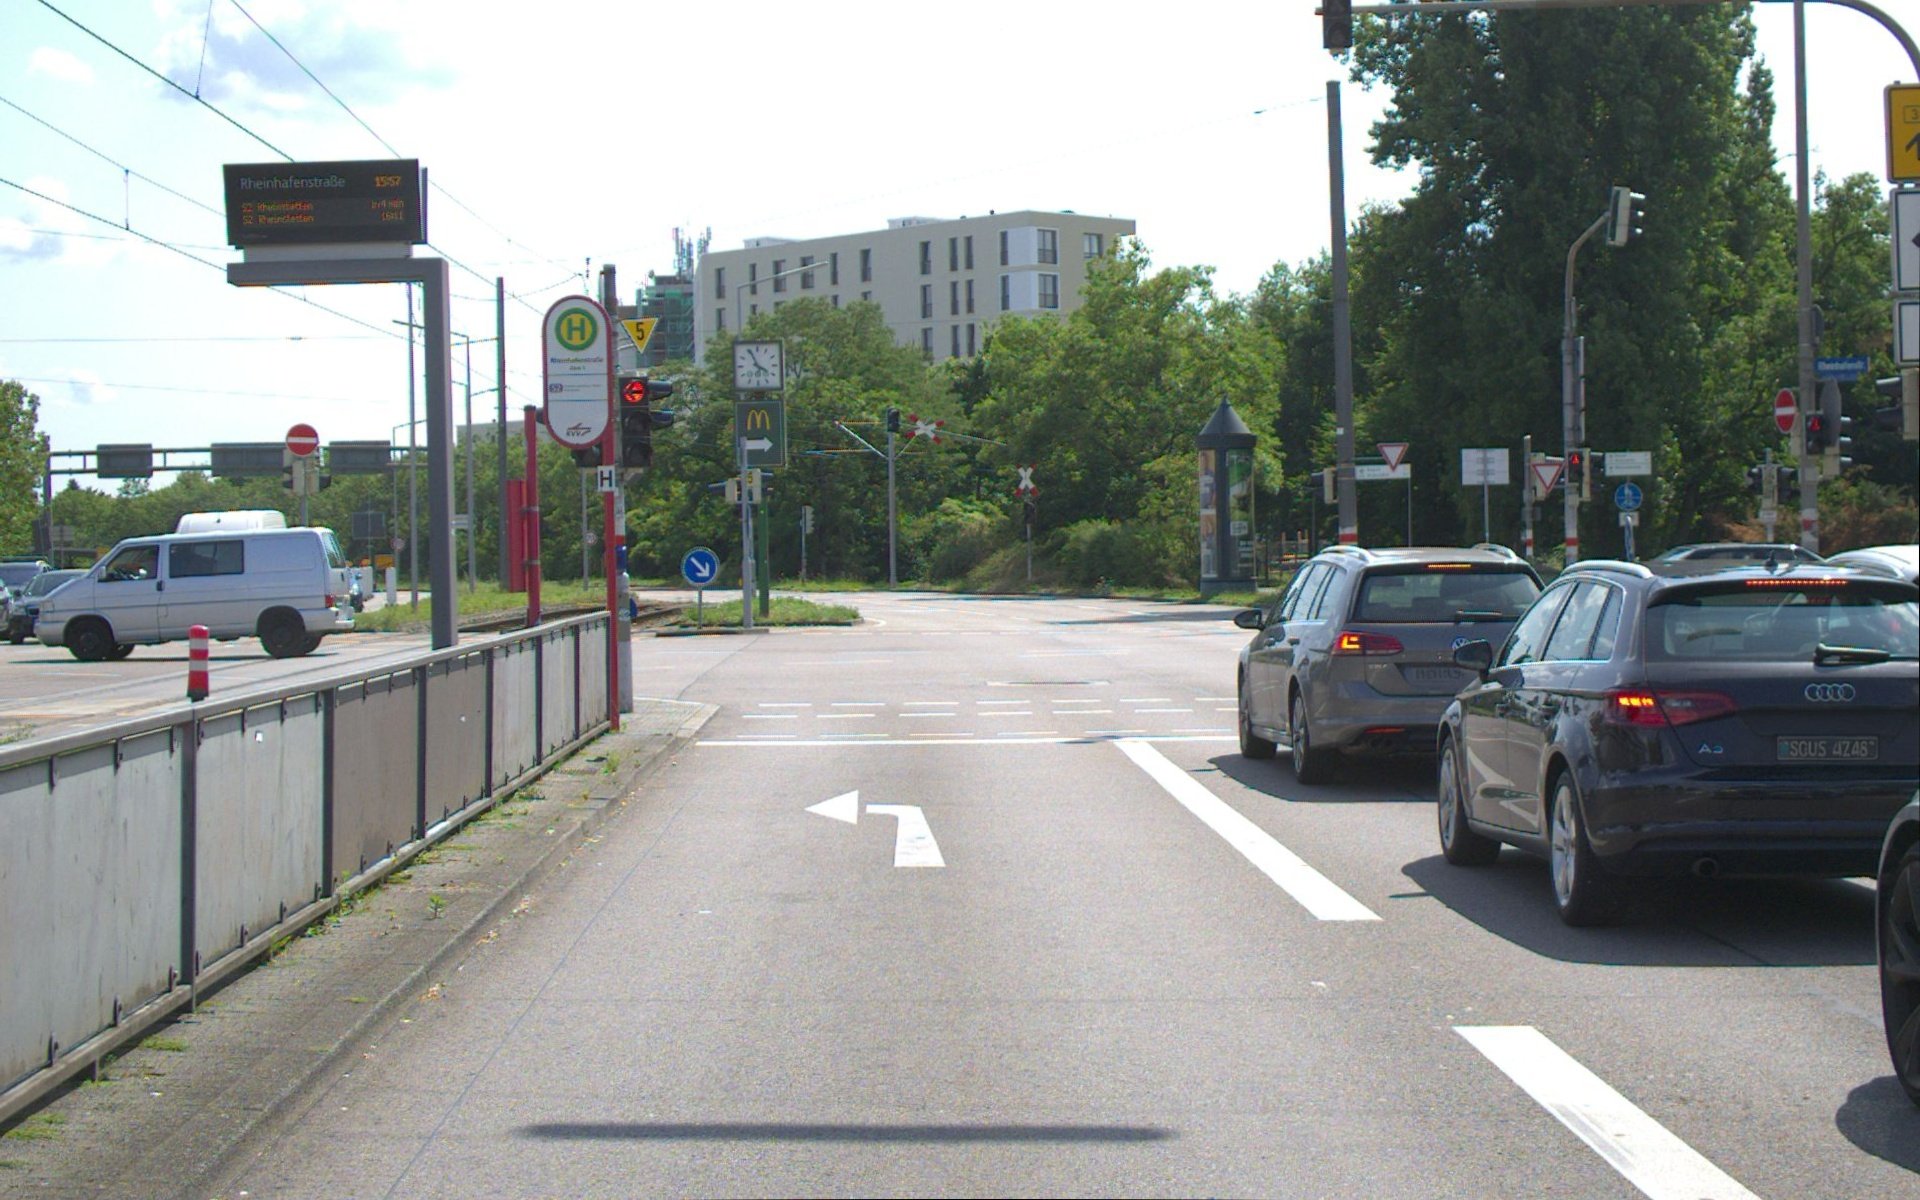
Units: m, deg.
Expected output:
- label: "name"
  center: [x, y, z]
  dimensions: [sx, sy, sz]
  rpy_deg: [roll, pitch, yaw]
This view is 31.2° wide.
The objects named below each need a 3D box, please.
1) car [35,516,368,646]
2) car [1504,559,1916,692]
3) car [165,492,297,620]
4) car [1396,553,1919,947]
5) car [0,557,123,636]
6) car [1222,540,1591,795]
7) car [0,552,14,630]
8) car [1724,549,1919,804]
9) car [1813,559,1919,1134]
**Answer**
- label: "car"
  center: [-11.614, -0.308, 52.896]
  dimensions: [4.676, 1.929, 2.000]
  rpy_deg: [0, 1, -1]
- label: "car"
  center: [8.844, 0.284, 40.841]
  dimensions: [4.460, 1.509, 2.000]
  rpy_deg: [0, 1, 1]
- label: "car"
  center: [-15.290, -0.916, 72.304]
  dimensions: [1.993, 2.597, 4.879]
  rpy_deg: [0, 1, -3]
- label: "car"
  center: [3.088, 0.521, 14.575]
  dimensions: [1.869, 1.415, 4.100]
  rpy_deg: [0, 1, -1]
- label: "car"
  center: [-18.174, -0.085, 69.406]
  dimensions: [1.896, 1.536, 3.730]
  rpy_deg: [0, 1, -5]
- label: "car"
  center: [2.783, 0.356, 22.338]
  dimensions: [1.744, 1.494, 4.380]
  rpy_deg: [0, 1, -1]
- label: "car"
  center: [-21.039, -0.188, 71.667]
  dimensions: [1.862, 1.645, 4.001]
  rpy_deg: [0, 1, -5]
- label: "car"
  center: [6.176, 0.410, 21.803]
  dimensions: [1.745, 1.443, 4.380]
  rpy_deg: [0, 1, 1]
- label: "car"
  center: [3.394, 0.655, 7.269]
  dimensions: [1.887, 1.443, 4.828]
  rpy_deg: [0, 1, -1]
